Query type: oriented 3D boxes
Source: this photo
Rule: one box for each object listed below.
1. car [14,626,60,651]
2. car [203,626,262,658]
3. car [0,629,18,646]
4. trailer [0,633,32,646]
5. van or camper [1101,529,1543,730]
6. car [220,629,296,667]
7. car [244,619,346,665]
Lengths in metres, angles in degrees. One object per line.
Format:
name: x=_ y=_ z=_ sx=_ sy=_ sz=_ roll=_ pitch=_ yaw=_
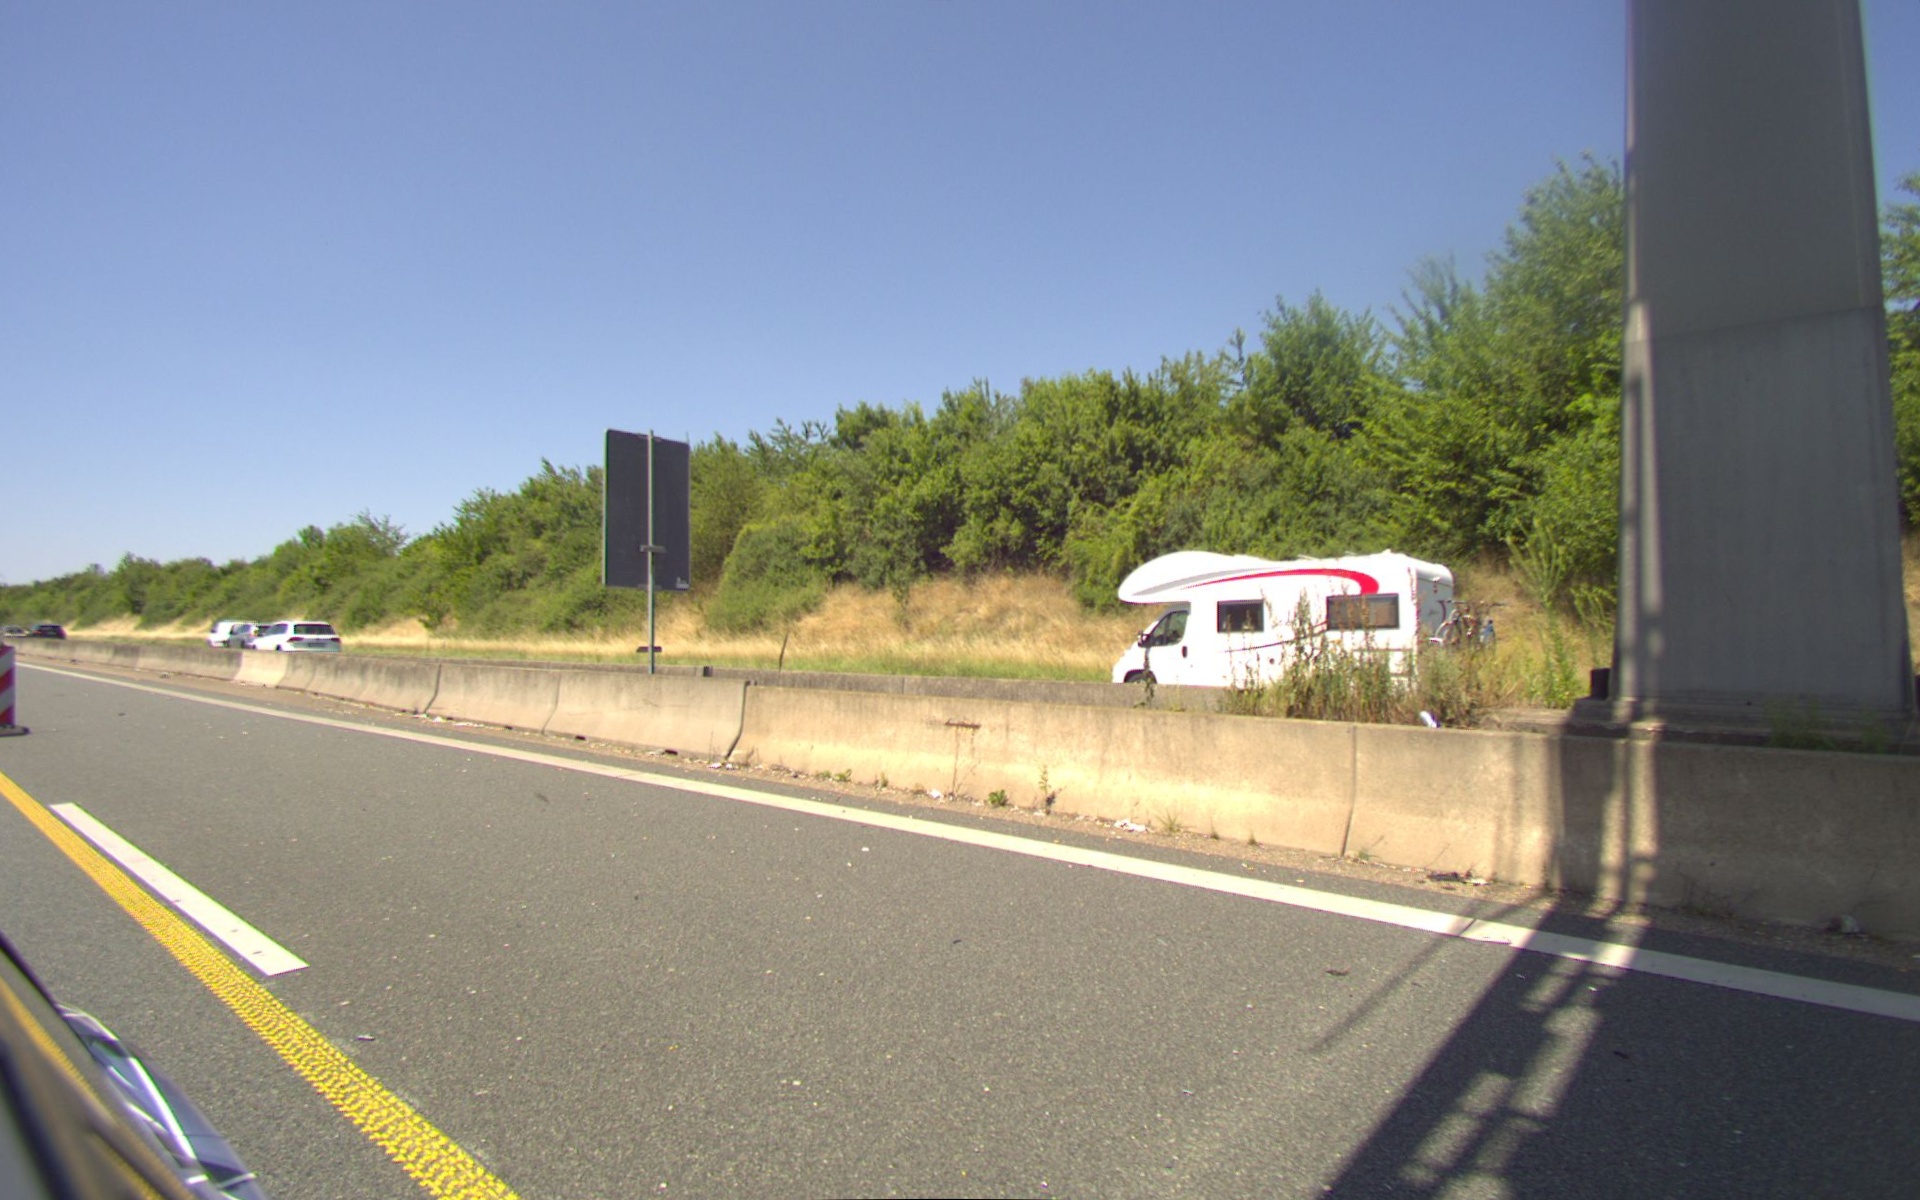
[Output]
car: x=-65.118 y=2.683 z=71.362 sx=4.496 sy=1.707 sz=1.853 roll=-2 pitch=-3 yaw=41
car: x=-47.967 y=2.752 z=66.703 sx=5.593 sy=2.029 sz=1.910 roll=-2 pitch=-3 yaw=41
car: x=-102.157 y=3.999 z=107.995 sx=4.563 sy=1.767 sz=1.893 roll=-1 pitch=0 yaw=41
trailer: x=-97.596 y=4.034 z=104.150 sx=7.213 sy=1.354 sz=2.332 roll=-1 pitch=-2 yaw=41
van or camper: x=6.574 y=0.569 z=19.378 sx=7.622 sy=3.171 sz=2.410 roll=-2 pitch=-2 yaw=41
car: x=-34.925 y=2.331 z=50.306 sx=4.619 sy=1.796 sz=1.973 roll=-2 pitch=-3 yaw=41
car: x=-23.270 y=1.428 z=35.366 sx=4.354 sy=1.466 sz=1.890 roll=-1 pitch=0 yaw=41
